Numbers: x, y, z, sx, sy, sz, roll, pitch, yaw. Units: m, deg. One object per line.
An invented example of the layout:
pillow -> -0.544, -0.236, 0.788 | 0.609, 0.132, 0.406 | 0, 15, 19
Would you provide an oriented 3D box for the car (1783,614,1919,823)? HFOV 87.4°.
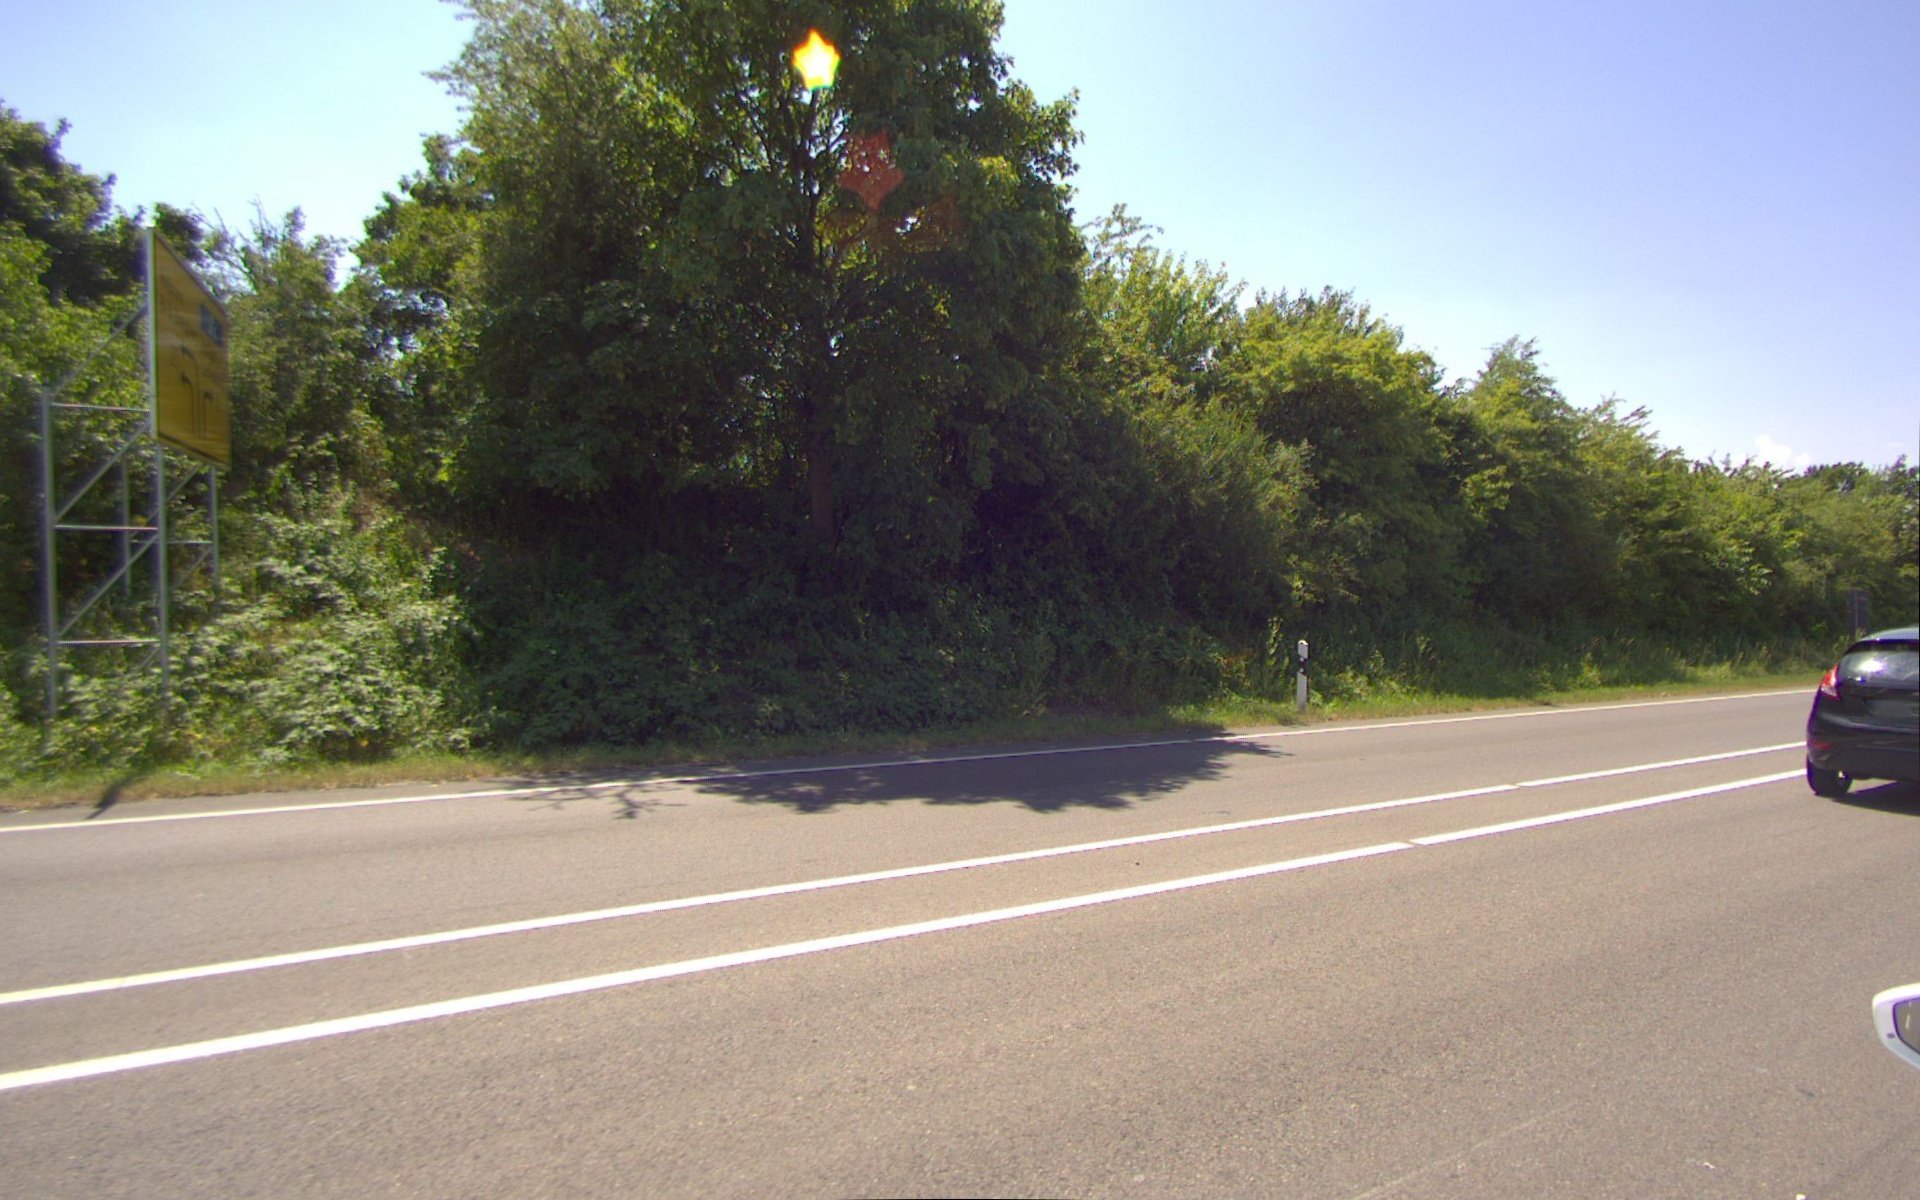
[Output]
car -> 8.978, 0.917, 8.731 | 4.162, 1.514, 1.643 | 0, 1, -33
